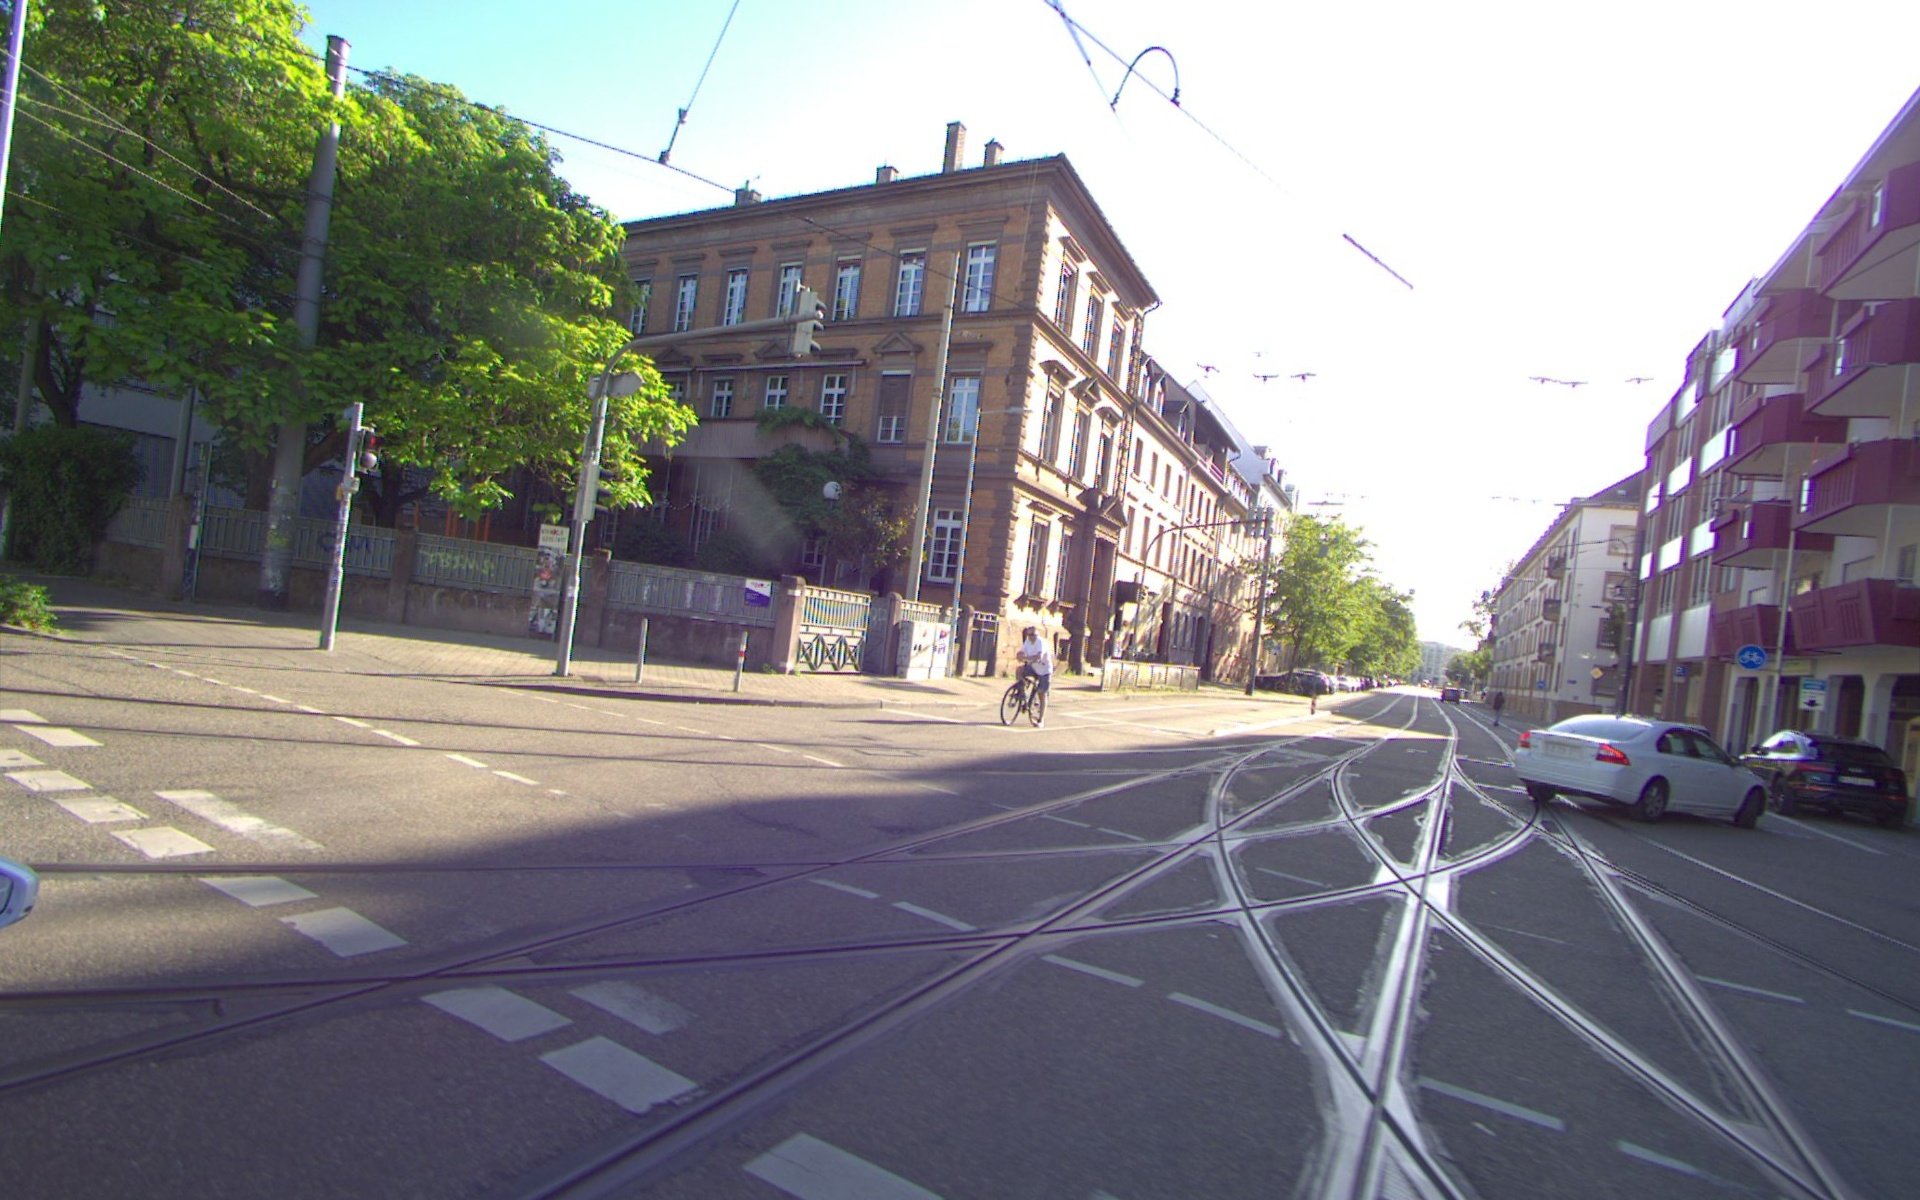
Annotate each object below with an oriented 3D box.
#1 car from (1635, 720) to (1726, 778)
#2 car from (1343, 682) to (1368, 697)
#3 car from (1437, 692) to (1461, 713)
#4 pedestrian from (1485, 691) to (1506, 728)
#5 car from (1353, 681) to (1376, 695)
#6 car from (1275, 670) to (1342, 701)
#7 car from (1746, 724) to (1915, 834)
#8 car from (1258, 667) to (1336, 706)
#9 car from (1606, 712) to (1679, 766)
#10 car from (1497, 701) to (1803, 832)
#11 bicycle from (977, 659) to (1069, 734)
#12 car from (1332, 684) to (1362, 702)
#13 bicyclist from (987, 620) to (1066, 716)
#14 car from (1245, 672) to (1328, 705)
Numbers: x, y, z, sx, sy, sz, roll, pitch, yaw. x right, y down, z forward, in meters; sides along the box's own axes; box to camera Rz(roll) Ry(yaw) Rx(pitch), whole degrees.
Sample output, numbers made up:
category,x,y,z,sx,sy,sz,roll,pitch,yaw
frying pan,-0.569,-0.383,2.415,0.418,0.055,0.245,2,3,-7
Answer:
category,x,y,z,sx,sy,sz,roll,pitch,yaw
car,23.549,4.820,33.012,1.881,1.486,3.997,6,-3,30
car,44.478,10.077,113.059,1.966,1.370,3.995,7,-1,30
car,52.264,10.961,107.608,1.964,1.868,4.004,7,-3,24
pedestrian,27.608,5.656,51.845,0.684,1.791,0.989,7,0,24
car,49.603,10.774,123.280,1.966,1.370,3.995,7,-1,30
car,27.215,6.663,78.593,4.652,1.704,2.000,7,-1,22
car,17.294,3.484,20.196,1.709,1.703,3.905,6,-3,30
car,23.455,6.027,70.153,4.649,2.010,2.001,7,-1,4
car,25.678,5.206,37.963,1.859,1.636,3.997,6,-3,30
car,10.963,2.654,15.919,4.843,1.473,1.843,8,-1,-27
bicycle,1.149,1.684,17.801,0.830,1.132,2.332,7,-1,22
car,35.481,8.531,92.216,1.777,1.370,3.995,7,-1,30
bicyclist,1.185,1.203,17.807,0.993,1.527,0.928,7,0,22
car,21.182,5.747,65.385,4.649,1.468,1.909,7,-1,4
